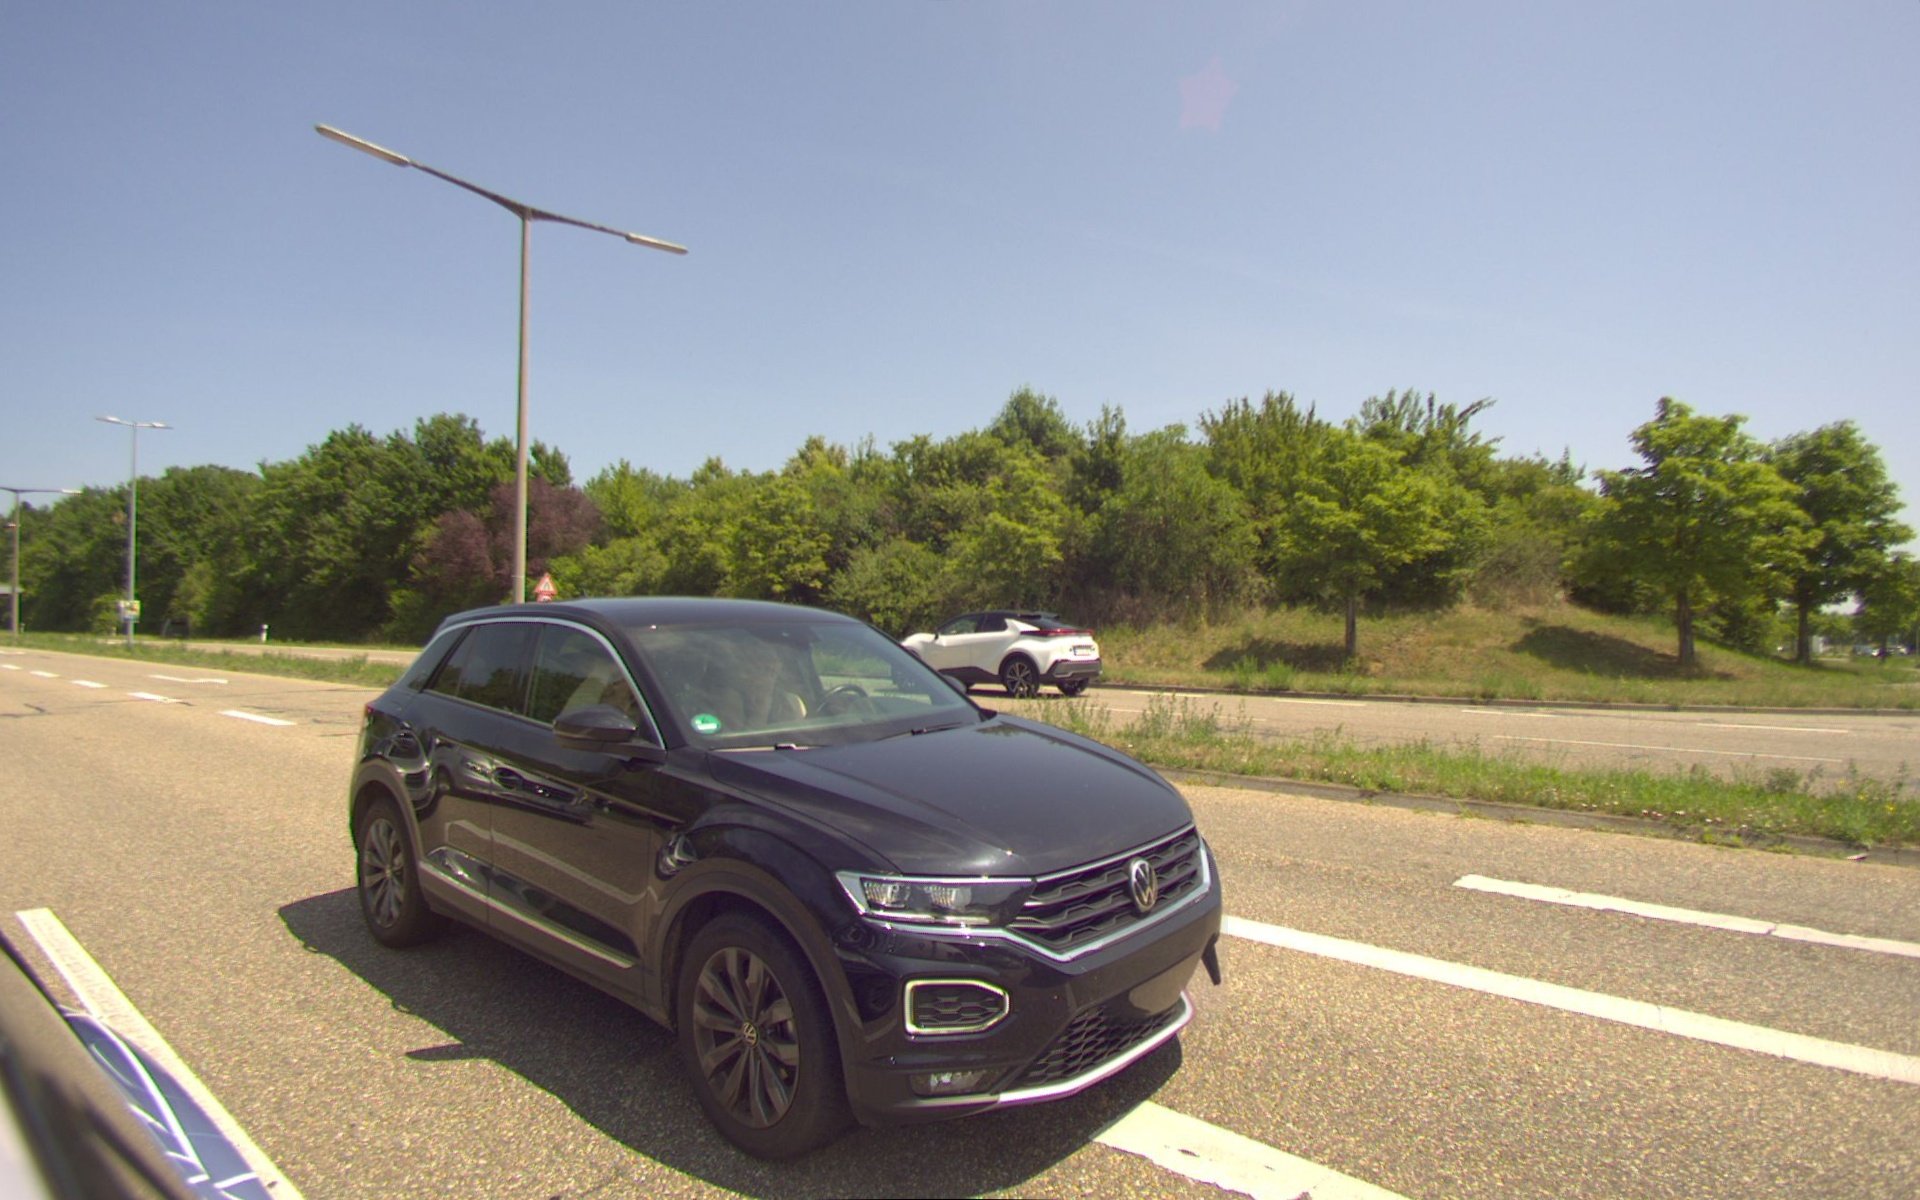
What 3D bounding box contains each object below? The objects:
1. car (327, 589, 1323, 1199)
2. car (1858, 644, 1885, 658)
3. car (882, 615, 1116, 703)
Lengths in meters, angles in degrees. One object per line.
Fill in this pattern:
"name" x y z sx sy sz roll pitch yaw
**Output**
"car" -0.853 0.737 3.993 3.968 1.523 1.716 0 0 41
"car" 95.565 5.294 106.152 1.630 1.371 3.952 -1 -2 35
"car" 0.647 1.028 18.852 4.166 1.467 1.804 -1 -2 41
